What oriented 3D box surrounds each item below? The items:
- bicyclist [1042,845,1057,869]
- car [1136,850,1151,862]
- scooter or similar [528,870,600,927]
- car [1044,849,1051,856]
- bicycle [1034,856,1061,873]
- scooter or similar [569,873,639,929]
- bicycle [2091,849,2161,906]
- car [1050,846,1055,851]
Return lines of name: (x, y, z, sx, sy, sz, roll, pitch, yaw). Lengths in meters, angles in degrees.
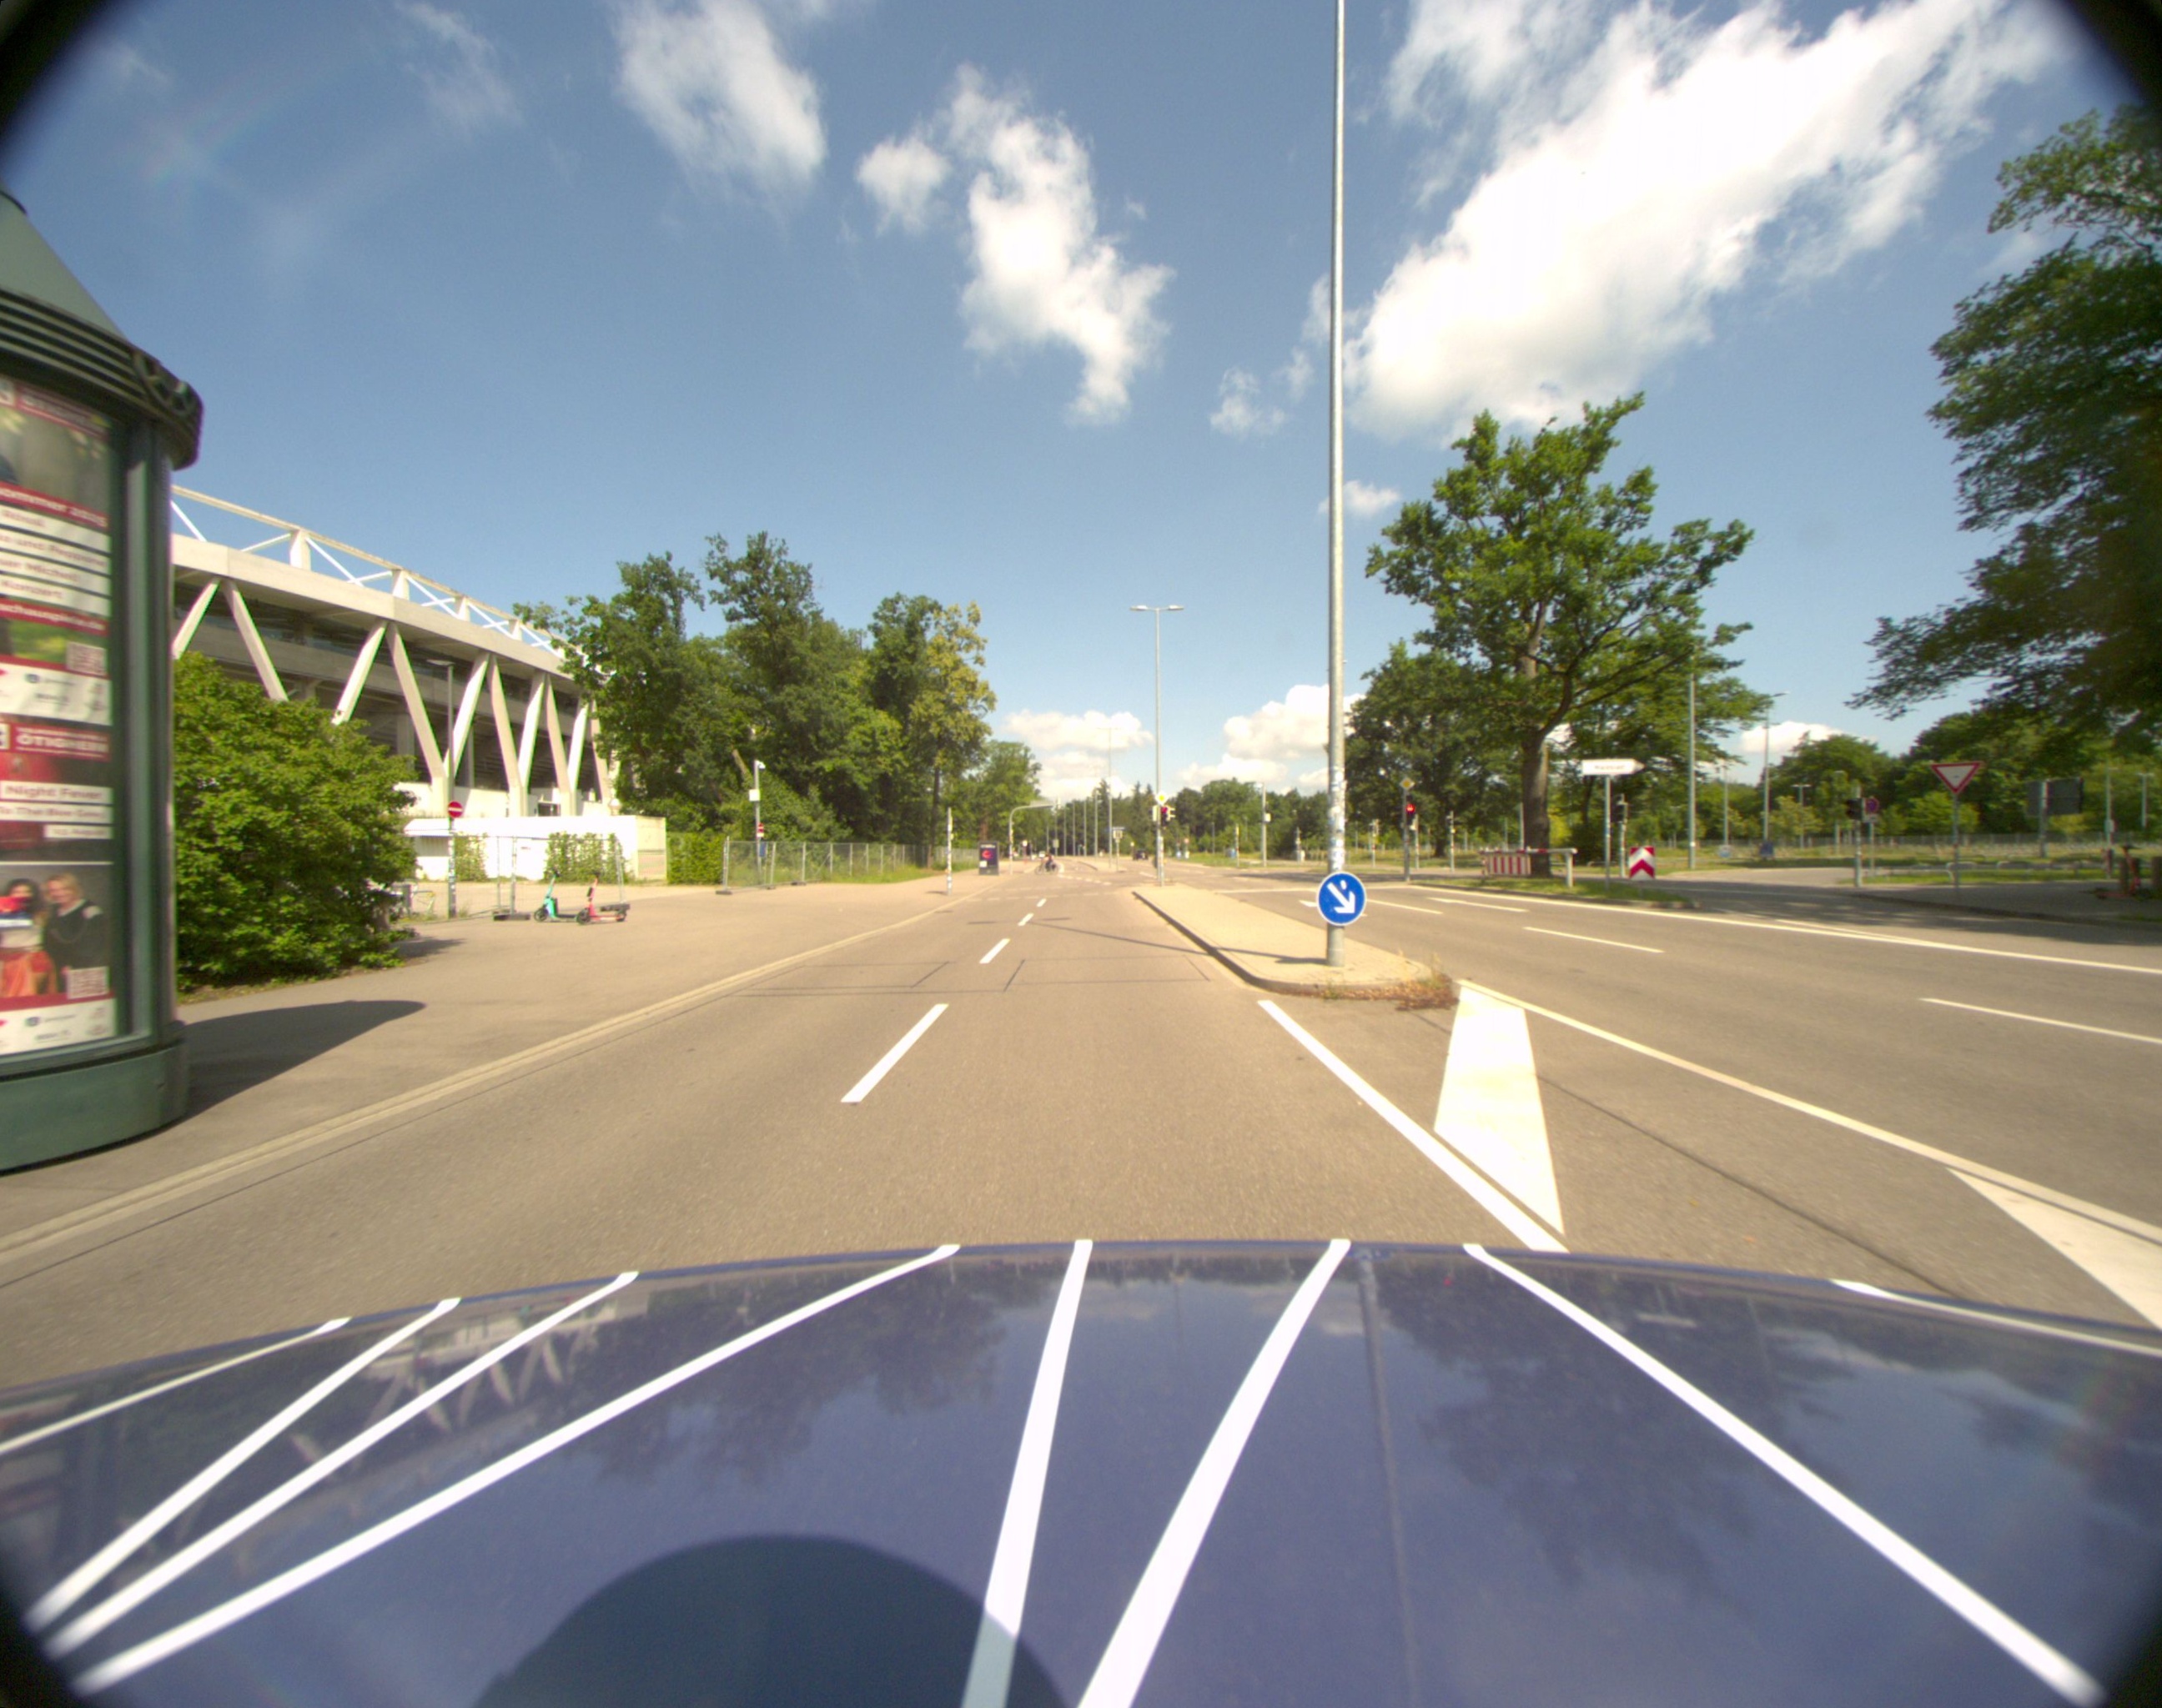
bicyclist: (-2.388, 0.249, 57.491, 0.979, 1.787, 0.886, -2, 1, -14)
car: (9.917, 0.356, 120.187, 1.980, 1.754, 4.707, -2, 0, 0)
scooter or similar: (-11.781, 1.008, 17.339, 1.311, 1.245, 0.407, 0, 1, -6)
car: (-7.905, -0.402, 180.031, 1.580, 1.471, 3.568, -2, 1, -5)
bicycle: (-2.526, 0.755, 57.468, 1.898, 1.199, 0.882, -2, 1, -15)
scooter or similar: (-10.823, 1.052, 17.266, 0.406, 1.193, 1.314, 1, 0, 27)
bicycle: (22.527, 0.487, 16.328, 0.420, 1.166, 1.231, -1, 1, 22)
car: (-9.198, -1.667, 243.808, 1.580, 1.471, 3.569, -2, 1, -3)
